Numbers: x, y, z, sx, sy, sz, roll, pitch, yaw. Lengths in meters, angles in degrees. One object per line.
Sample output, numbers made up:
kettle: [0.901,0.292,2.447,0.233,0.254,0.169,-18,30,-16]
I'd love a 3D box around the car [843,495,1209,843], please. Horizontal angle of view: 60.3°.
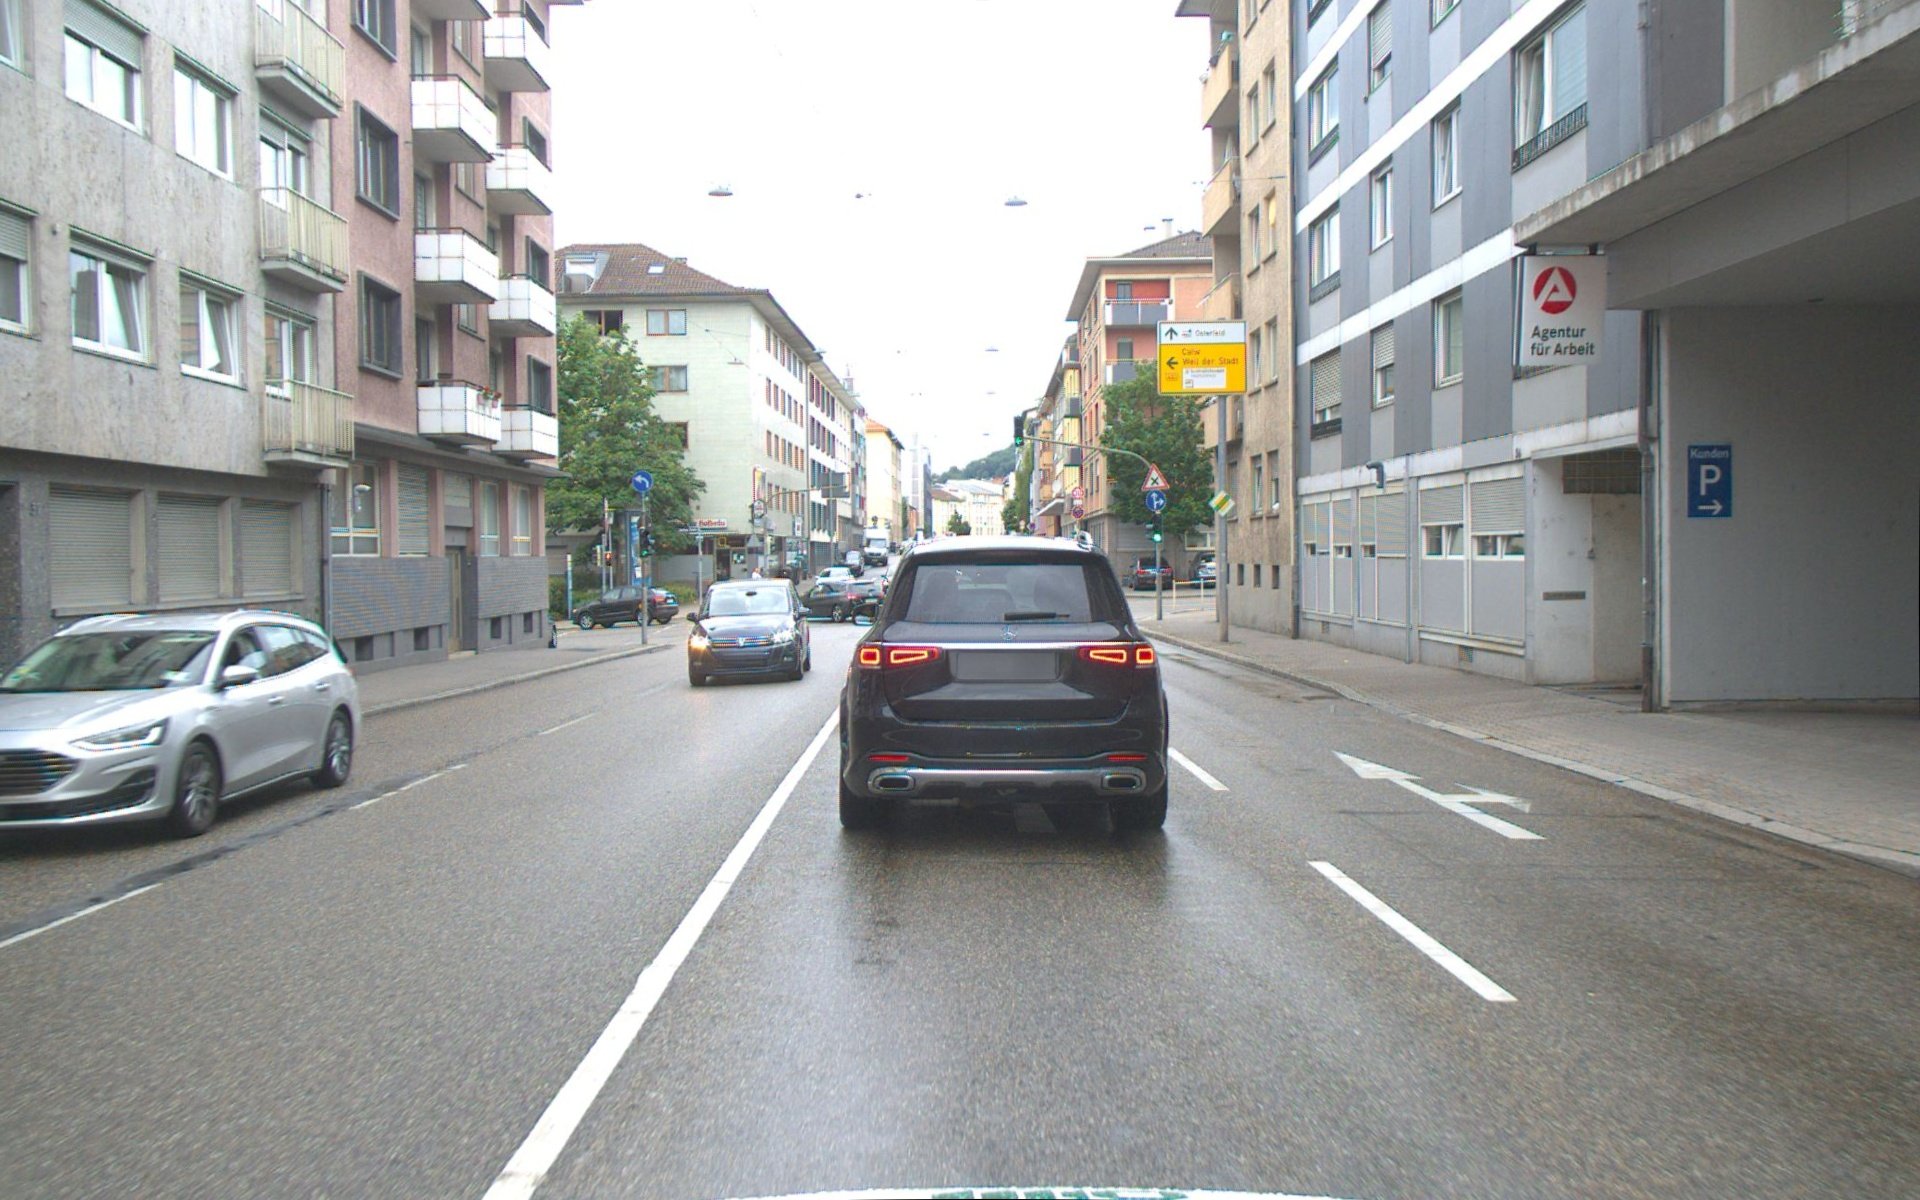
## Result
car: [0.347,0.384,11.254,1.944,1.836,4.389,2,0,-1]

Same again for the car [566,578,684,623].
car: [-13.200,0.018,65.120,4.255,1.566,1.778,-2,0,22]

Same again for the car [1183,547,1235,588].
car: [11.654,-1.514,77.635,1.786,1.826,3.831,-1,1,-1]

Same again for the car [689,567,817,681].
car: [-3.351,0.319,27.493,1.737,1.674,4.409,-2,1,-3]

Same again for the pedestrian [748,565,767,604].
pedestrian: [-9.471,-0.712,77.328,0.622,1.795,0.774,-1,0,16]

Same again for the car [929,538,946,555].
car: [-2.383,-5.587,173.817,1.586,1.566,4.215,-2,0,-3]

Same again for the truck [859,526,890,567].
truck: [-7.215,-4.467,139.950,2.430,3.099,9.915,-2,0,-3]

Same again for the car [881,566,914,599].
car: [-3.202,-0.850,84.148,1.586,1.566,4.215,-2,0,-3]

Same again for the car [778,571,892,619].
car: [-4.509,-0.176,59.174,1.764,1.566,4.288,-2,0,-44]

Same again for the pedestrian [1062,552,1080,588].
pedestrian: [6.357,-1.743,94.880,0.904,2.049,0.706,-1,0,-2]

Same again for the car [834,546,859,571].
car: [-7.858,-2.860,114.514,1.586,1.566,4.215,-2,0,-3]

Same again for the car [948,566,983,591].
car: [0.298,-1.290,99.567,1.953,1.375,3.999,-2,1,-1]

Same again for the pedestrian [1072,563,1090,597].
pedestrian: [6.622,-1.113,90.516,0.904,1.836,0.706,-1,0,-2]

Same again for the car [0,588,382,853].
car: [-5.864,0.745,12.140,1.736,1.566,4.358,-2,0,-1]

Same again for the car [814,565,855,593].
car: [-6.326,-1.042,83.691,1.847,1.286,4.215,-2,0,-3]

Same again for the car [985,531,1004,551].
car: [3.508,-6.026,168.559,1.689,1.790,4.215,-2,0,-3]

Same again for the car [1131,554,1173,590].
car: [8.983,-1.314,77.639,1.636,1.616,3.331,-1,1,2]

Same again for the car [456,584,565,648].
car: [-12.663,0.413,46.900,1.953,1.702,4.258,-1,1,-1]

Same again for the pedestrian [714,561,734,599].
pedestrian: [-12.103,-1.043,84.844,0.904,1.935,0.706,-1,0,-2]
